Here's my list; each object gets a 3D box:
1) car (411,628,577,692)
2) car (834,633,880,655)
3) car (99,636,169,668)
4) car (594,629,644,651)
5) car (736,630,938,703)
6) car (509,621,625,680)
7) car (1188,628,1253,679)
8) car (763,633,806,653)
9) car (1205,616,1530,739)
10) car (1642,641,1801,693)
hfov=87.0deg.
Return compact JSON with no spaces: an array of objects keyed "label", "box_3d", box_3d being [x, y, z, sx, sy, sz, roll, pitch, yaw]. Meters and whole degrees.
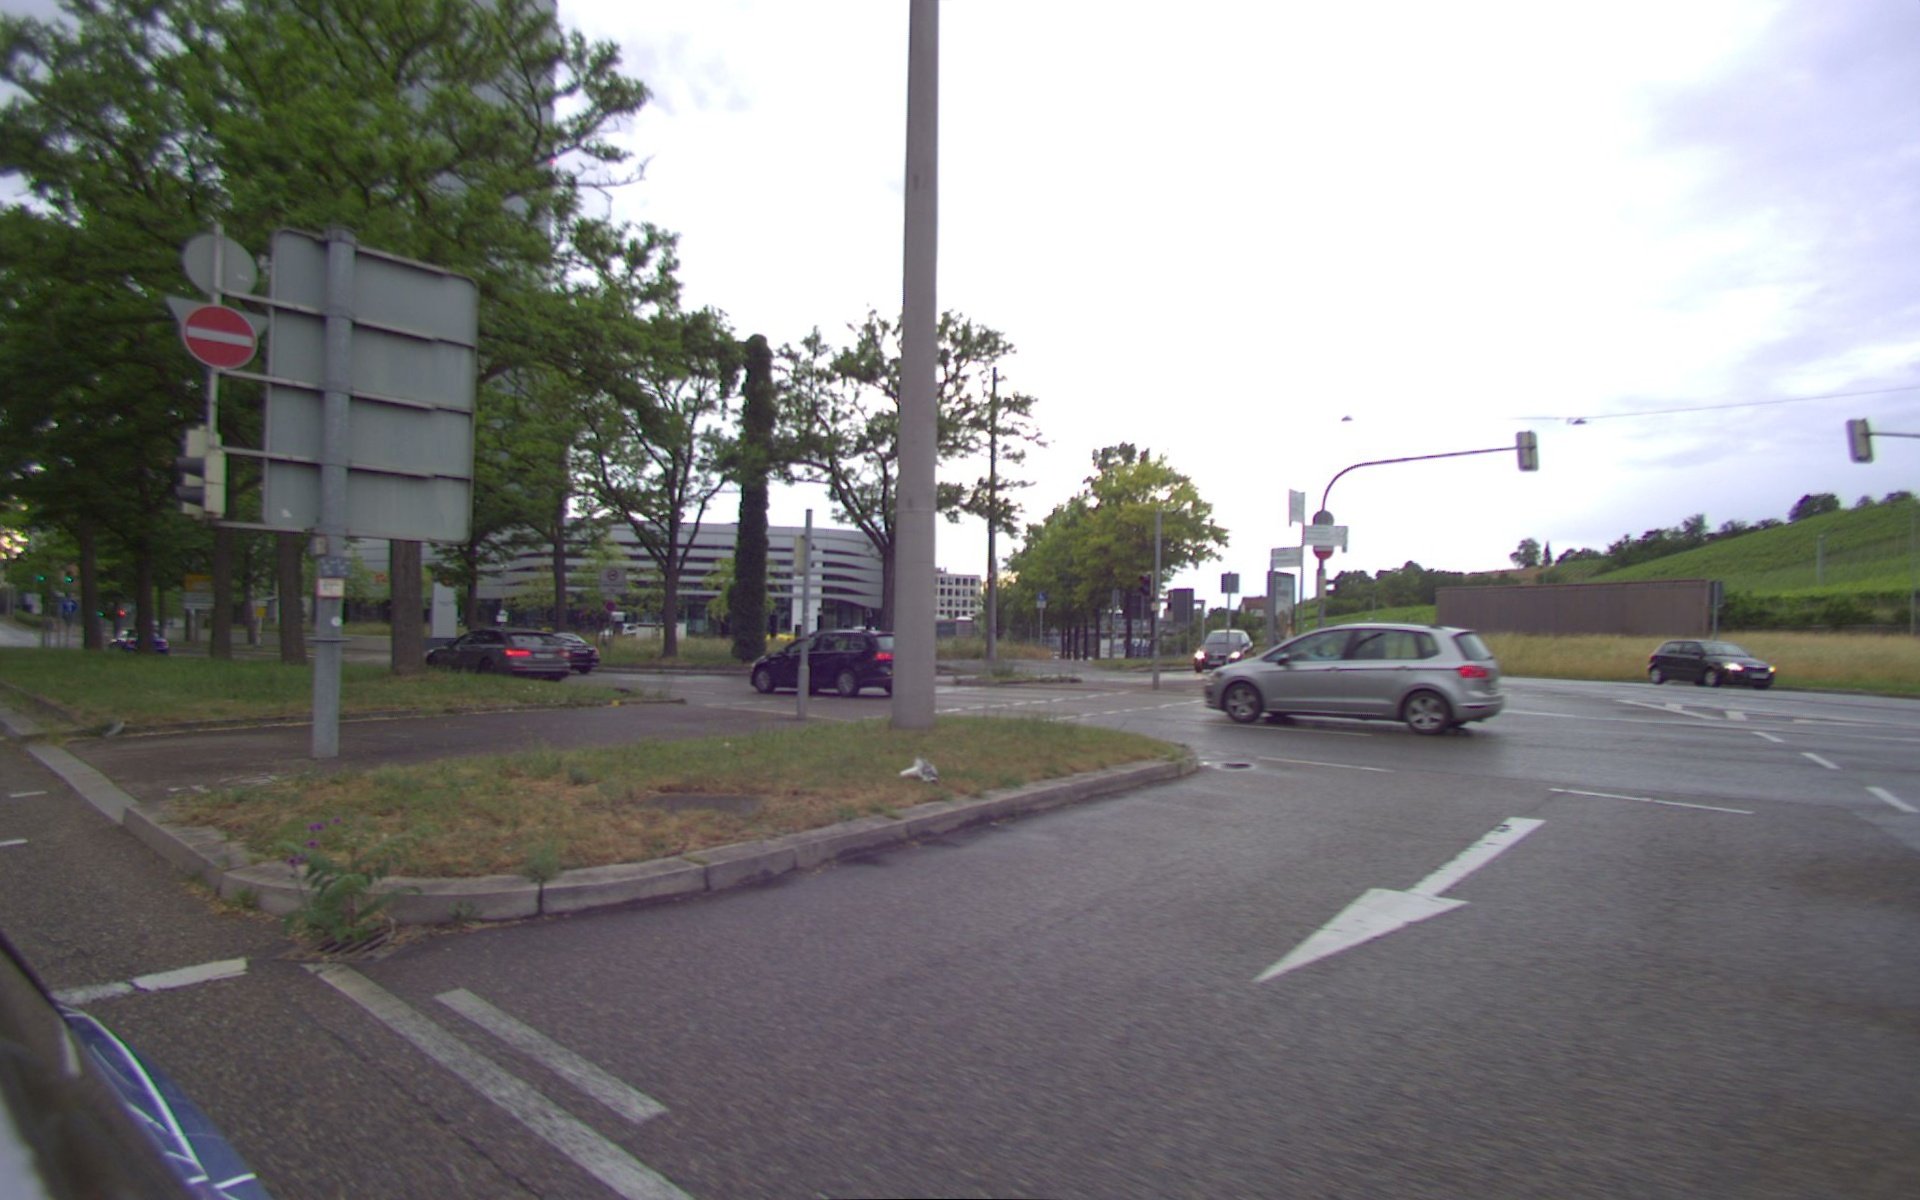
[{"label":"car","box_3d":[-11.980,1.484,25.882,4.886,1.500,1.882,-2,-3,39]},{"label":"car","box_3d":[-6.686,2.827,65.319,1.592,1.254,4.013,0,0,-28]},{"label":"car","box_3d":[-39.062,2.439,47.843,3.876,1.406,1.769,-1,-2,38]},{"label":"car","box_3d":[-25.567,2.983,75.979,1.761,1.423,3.983,0,0,13]},{"label":"car","box_3d":[-2.853,1.436,22.835,4.663,1.484,1.806,-2,-3,39]},{"label":"car","box_3d":[-13.939,1.863,35.835,4.561,1.636,1.811,-8,-11,39]},{"label":"car","box_3d":[9.941,1.976,38.430,1.985,1.674,3.973,0,0,20]},{"label":"car","box_3d":[-13.518,3.321,78.154,1.606,1.334,3.978,0,0,17]},{"label":"car","box_3d":[6.104,1.054,15.379,4.191,1.587,1.974,-1,0,39]},{"label":"car","box_3d":[23.372,2.021,31.258,1.773,1.299,4.001,0,0,-2]}]
